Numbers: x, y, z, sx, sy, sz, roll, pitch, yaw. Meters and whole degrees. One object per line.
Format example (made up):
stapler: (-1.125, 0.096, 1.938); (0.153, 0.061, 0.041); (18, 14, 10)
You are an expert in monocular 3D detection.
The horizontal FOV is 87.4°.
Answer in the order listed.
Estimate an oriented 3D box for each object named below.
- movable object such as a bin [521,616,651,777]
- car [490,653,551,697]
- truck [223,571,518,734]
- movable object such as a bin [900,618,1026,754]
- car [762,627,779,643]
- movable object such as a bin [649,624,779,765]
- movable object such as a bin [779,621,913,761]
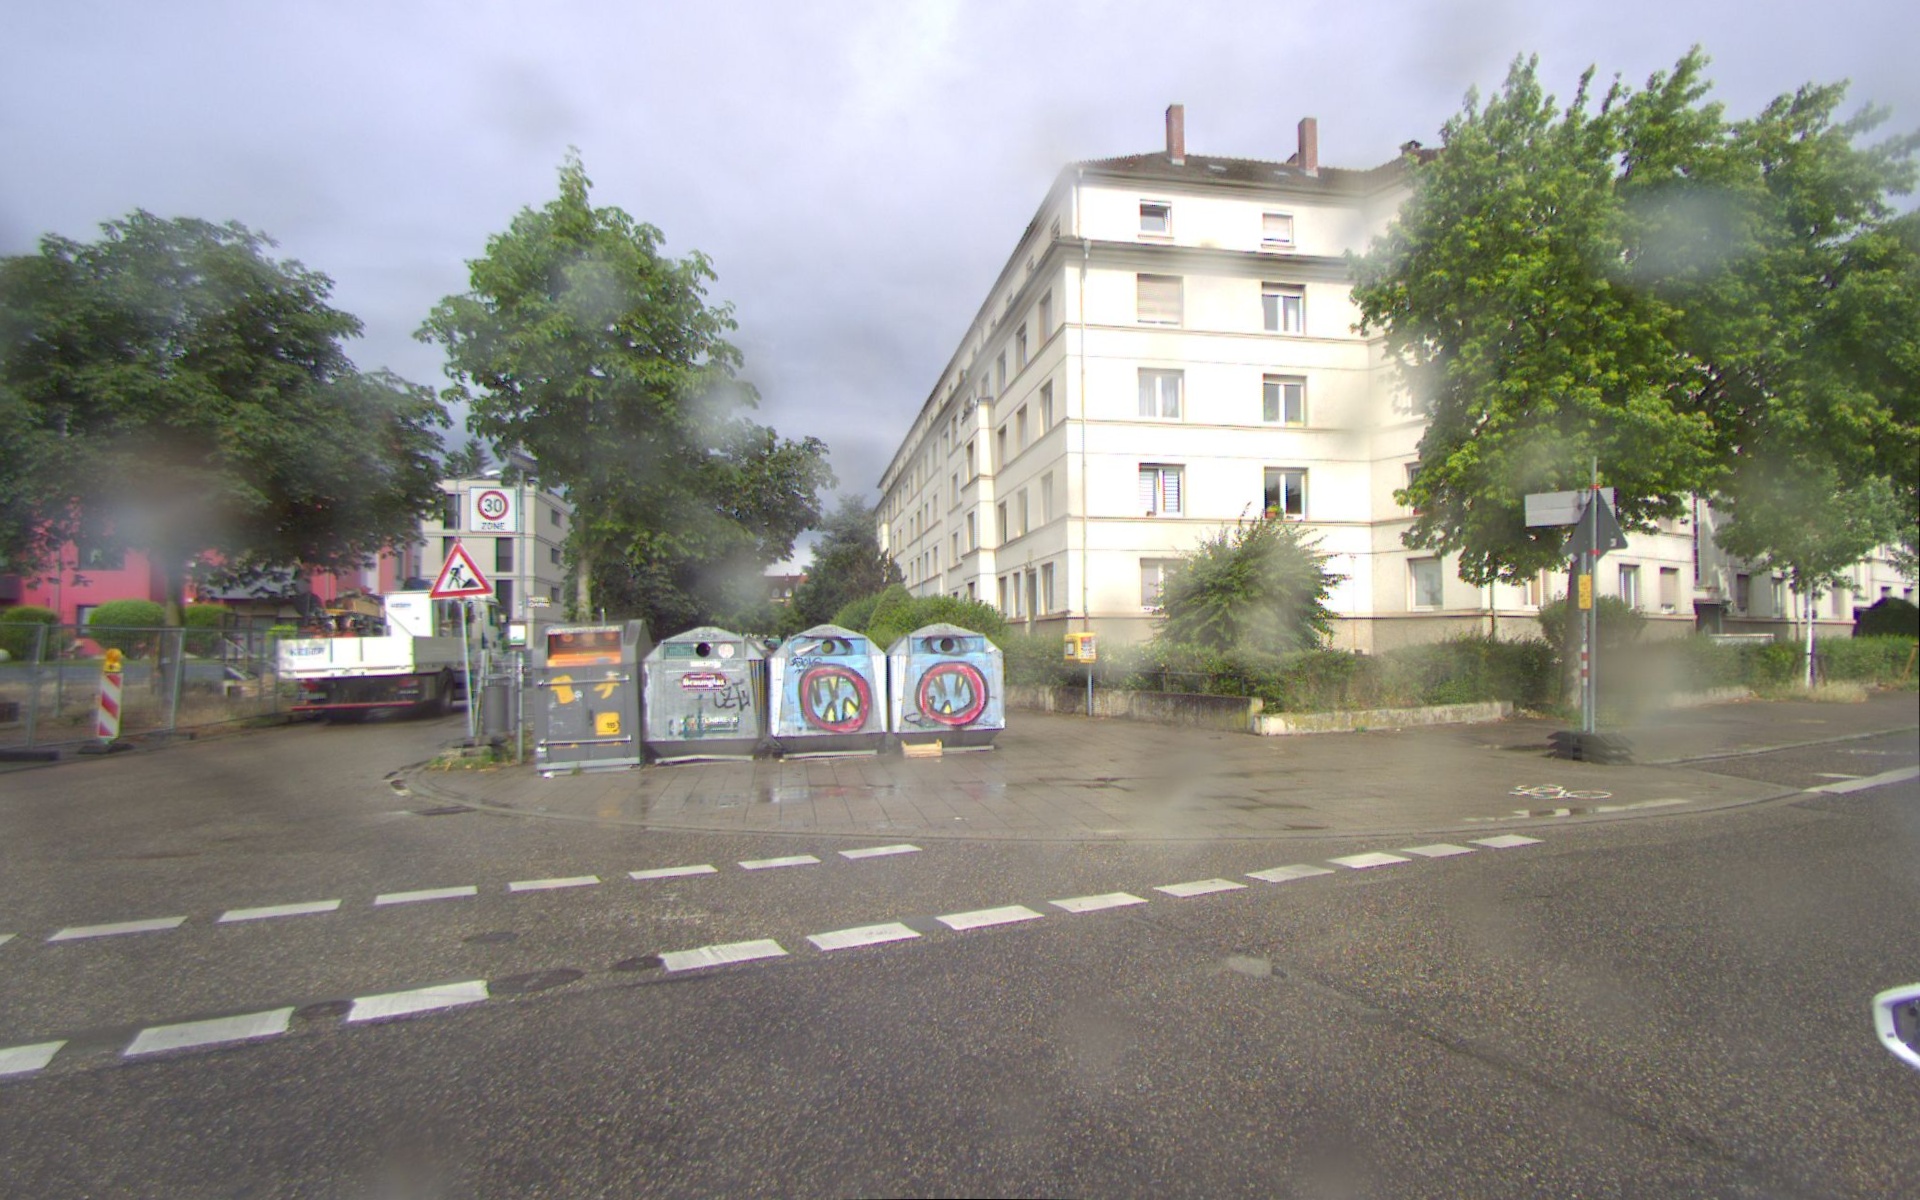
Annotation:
movable object such as a bin: (-4.629, 1.167, 12.578); (1.240, 1.848, 1.541); (-1, -3, -10)
car: (-17.002, 2.877, 38.984); (1.637, 1.605, 3.499); (0, -3, -15)
truck: (-13.986, 1.334, 25.160); (3.728, 3.225, 9.820); (0, -3, -14)
movable object such as a bin: (0.000, 1.128, 13.585); (1.432, 1.683, 1.541); (-1, -3, -10)
car: (-22.296, 4.130, 118.211); (1.813, 1.817, 3.996); (0, -3, -8)
movable object such as a bin: (-3.137, 1.183, 13.012); (1.500, 1.677, 1.541); (-1, -3, -10)
movable object such as a bin: (-1.542, 1.167, 13.296); (1.635, 1.696, 1.541); (-1, -3, -10)
